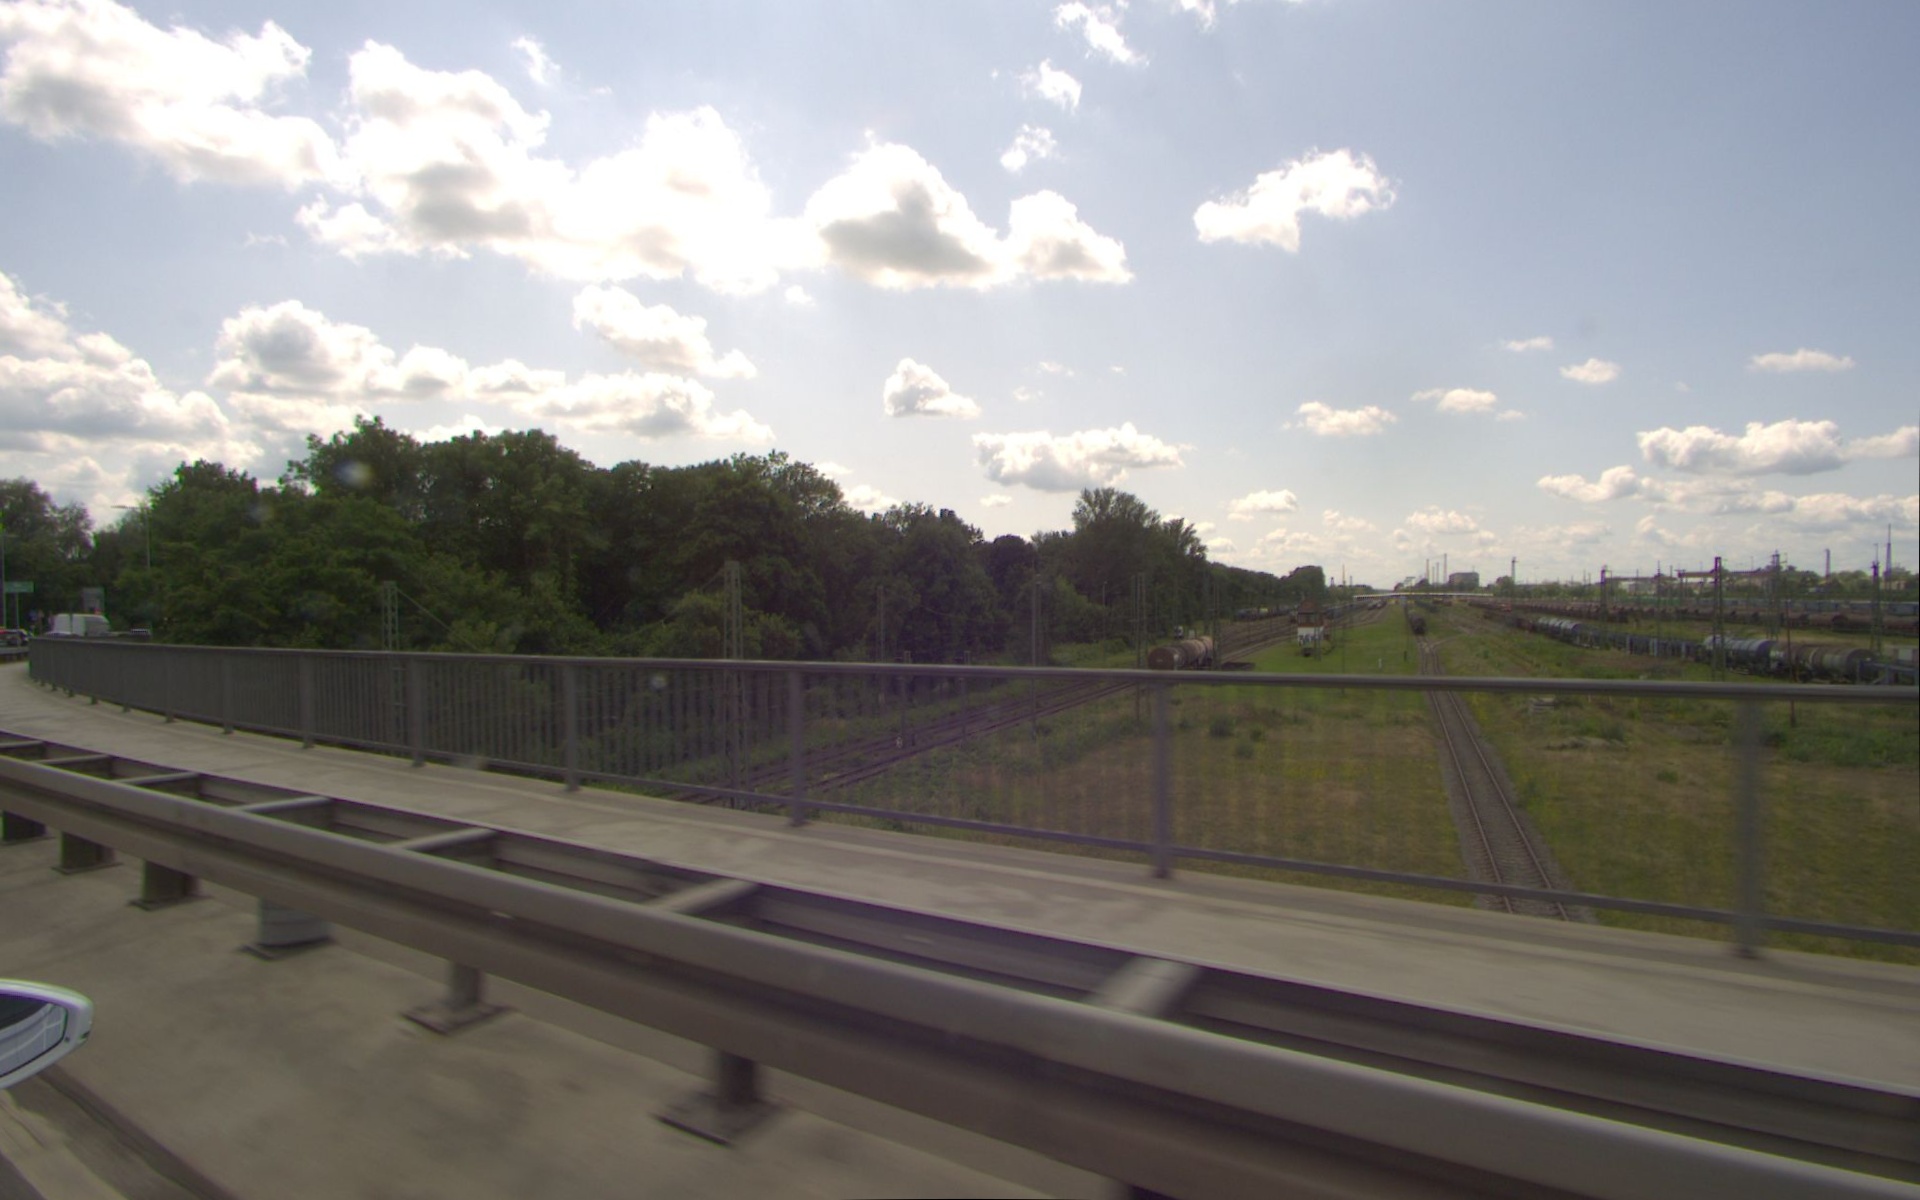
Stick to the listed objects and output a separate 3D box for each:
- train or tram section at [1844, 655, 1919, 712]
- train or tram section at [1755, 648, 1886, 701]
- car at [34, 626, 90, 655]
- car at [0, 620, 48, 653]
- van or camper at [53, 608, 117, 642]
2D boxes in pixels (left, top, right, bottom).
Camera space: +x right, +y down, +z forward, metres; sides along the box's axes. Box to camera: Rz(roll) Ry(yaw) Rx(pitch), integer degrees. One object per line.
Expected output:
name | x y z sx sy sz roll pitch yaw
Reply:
train or tram section | 82.779 7.227 86.349 3.156 4.205 15.944 -3 -1 16
train or tram section | 86.938 7.387 101.786 3.154 4.205 15.950 -3 -1 14
car | -55.316 2.456 61.742 1.714 1.673 3.837 0 -1 -29
car | -50.678 1.938 53.666 1.714 1.672 3.838 1 -2 -28
van or camper | -63.896 1.879 73.218 2.246 2.369 5.221 2 -3 -27
